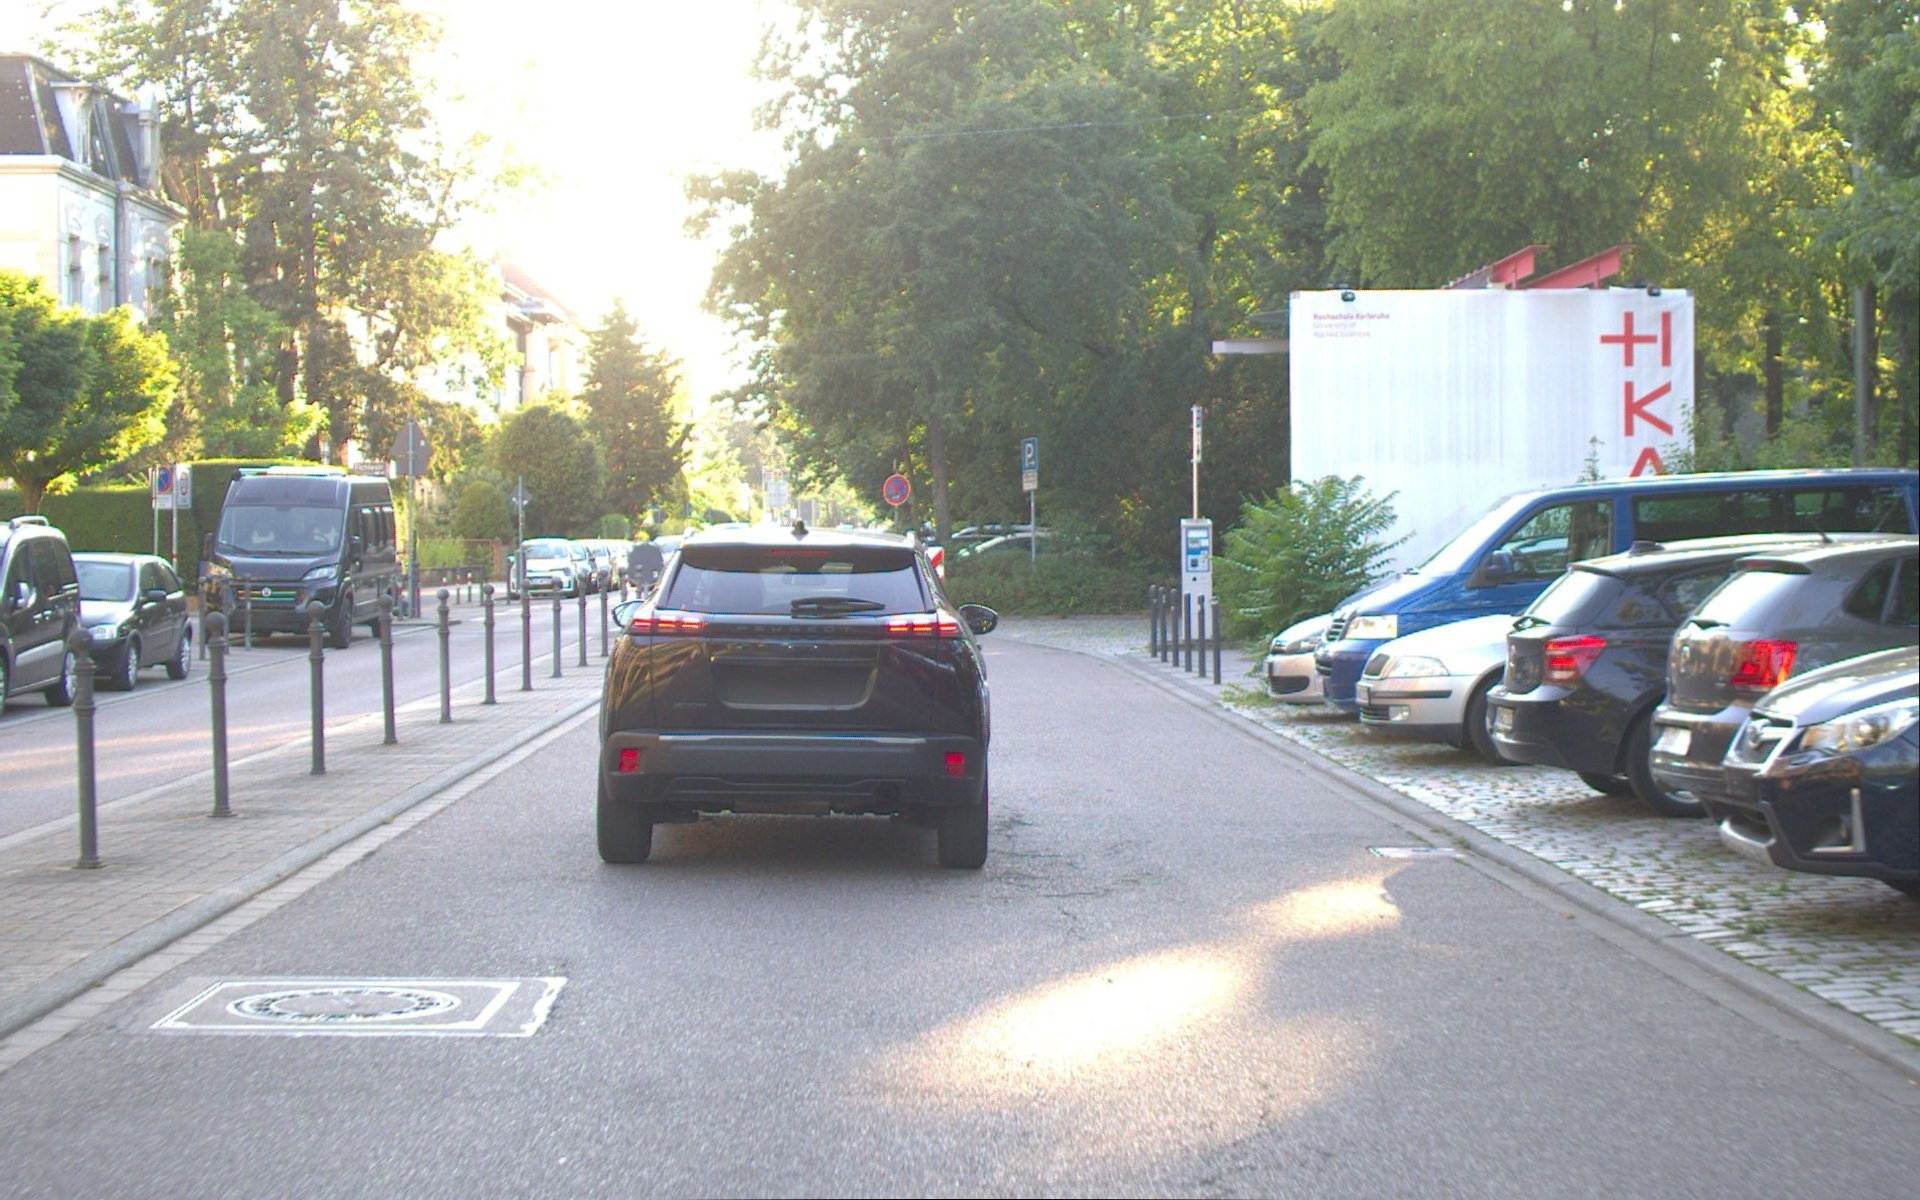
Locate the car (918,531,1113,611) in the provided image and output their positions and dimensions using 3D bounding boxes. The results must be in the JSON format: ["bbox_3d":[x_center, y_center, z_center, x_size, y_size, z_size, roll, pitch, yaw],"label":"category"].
[{"bbox_3d":[1.134,-0.620,71.782,3.987,1.549,1.726,-1,2,-1],"label":"car"}]

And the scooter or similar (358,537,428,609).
[{"bbox_3d":[-10.166,-0.488,61.662,0.431,1.270,1.341,0,1,34],"label":"scooter or similar"}]

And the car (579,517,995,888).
[{"bbox_3d":[-0.786,0.394,16.873,1.771,1.563,4.109,1,2,-1],"label":"car"}]

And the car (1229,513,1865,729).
[{"bbox_3d":[4.840,0.147,28.827,4.926,1.548,1.916,-2,1,-2],"label":"car"}]

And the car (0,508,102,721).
[{"bbox_3d":[-9.416,0.076,31.998,1.777,1.859,4.333,2,1,-1],"label":"car"}]

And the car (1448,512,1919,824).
[{"bbox_3d":[5.052,0.296,18.940,4.362,1.532,1.921,-2,1,-2],"label":"car"}]

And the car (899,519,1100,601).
[{"bbox_3d":[0.781,-0.811,69.377,3.987,1.549,1.726,-1,2,-1],"label":"car"}]

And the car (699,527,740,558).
[{"bbox_3d":[-12.258,-2.942,175.364,1.899,1.568,4.000,0,1,-2],"label":"car"}]

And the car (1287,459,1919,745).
[{"bbox_3d":[5.053,-0.016,26.049,4.852,1.909,1.916,-2,1,-2],"label":"car"}]

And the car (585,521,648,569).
[{"bbox_3d":[-10.821,-1.725,108.436,1.613,1.461,4.036,-1,1,-1],"label":"car"}]

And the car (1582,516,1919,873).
[{"bbox_3d":[5.354,0.343,16.345,4.362,1.532,1.921,-2,1,-2],"label":"car"}]

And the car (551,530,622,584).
[{"bbox_3d":[-10.550,-1.231,97.318,1.613,1.461,4.036,-1,1,-1],"label":"car"}]

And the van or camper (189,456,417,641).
[{"bbox_3d":[-9.725,-0.778,51.490,2.229,2.535,7.081,1,1,-2],"label":"van or camper"}]

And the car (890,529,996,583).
[{"bbox_3d":[-0.678,-1.713,134.388,3.986,2.082,1.758,0,1,-6],"label":"car"}]

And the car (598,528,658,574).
[{"bbox_3d":[-10.928,-1.608,113.281,1.613,1.461,4.036,-1,1,-1],"label":"car"}]

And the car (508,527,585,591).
[{"bbox_3d":[-10.412,-1.039,86.747,1.613,1.510,3.712,-2,1,-3],"label":"car"}]

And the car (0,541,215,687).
[{"bbox_3d":[-9.508,0.109,37.877,1.696,1.465,3.854,2,1,0],"label":"car"}]

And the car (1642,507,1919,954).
[{"bbox_3d":[5.018,0.371,13.150,4.362,1.548,1.876,-2,1,-2],"label":"car"}]

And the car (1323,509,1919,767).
[{"bbox_3d":[5.115,0.211,23.735,4.926,1.548,1.916,-2,1,-2],"label":"car"}]

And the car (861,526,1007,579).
[{"bbox_3d":[-0.797,-1.417,102.495,4.242,1.444,2.022,-2,1,-3],"label":"car"}]

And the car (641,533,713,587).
[{"bbox_3d":[-7.924,-1.142,96.592,1.741,1.453,4.624,-1,1,-2],"label":"car"}]

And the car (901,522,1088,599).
[{"bbox_3d":[0.721,-0.860,74.480,3.987,1.549,1.752,-1,2,-1],"label":"car"}]

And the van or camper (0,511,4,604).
[{"bbox_3d":[-23.142,-0.825,73.551,4.768,1.979,2.001,0,5,1],"label":"van or camper"}]
